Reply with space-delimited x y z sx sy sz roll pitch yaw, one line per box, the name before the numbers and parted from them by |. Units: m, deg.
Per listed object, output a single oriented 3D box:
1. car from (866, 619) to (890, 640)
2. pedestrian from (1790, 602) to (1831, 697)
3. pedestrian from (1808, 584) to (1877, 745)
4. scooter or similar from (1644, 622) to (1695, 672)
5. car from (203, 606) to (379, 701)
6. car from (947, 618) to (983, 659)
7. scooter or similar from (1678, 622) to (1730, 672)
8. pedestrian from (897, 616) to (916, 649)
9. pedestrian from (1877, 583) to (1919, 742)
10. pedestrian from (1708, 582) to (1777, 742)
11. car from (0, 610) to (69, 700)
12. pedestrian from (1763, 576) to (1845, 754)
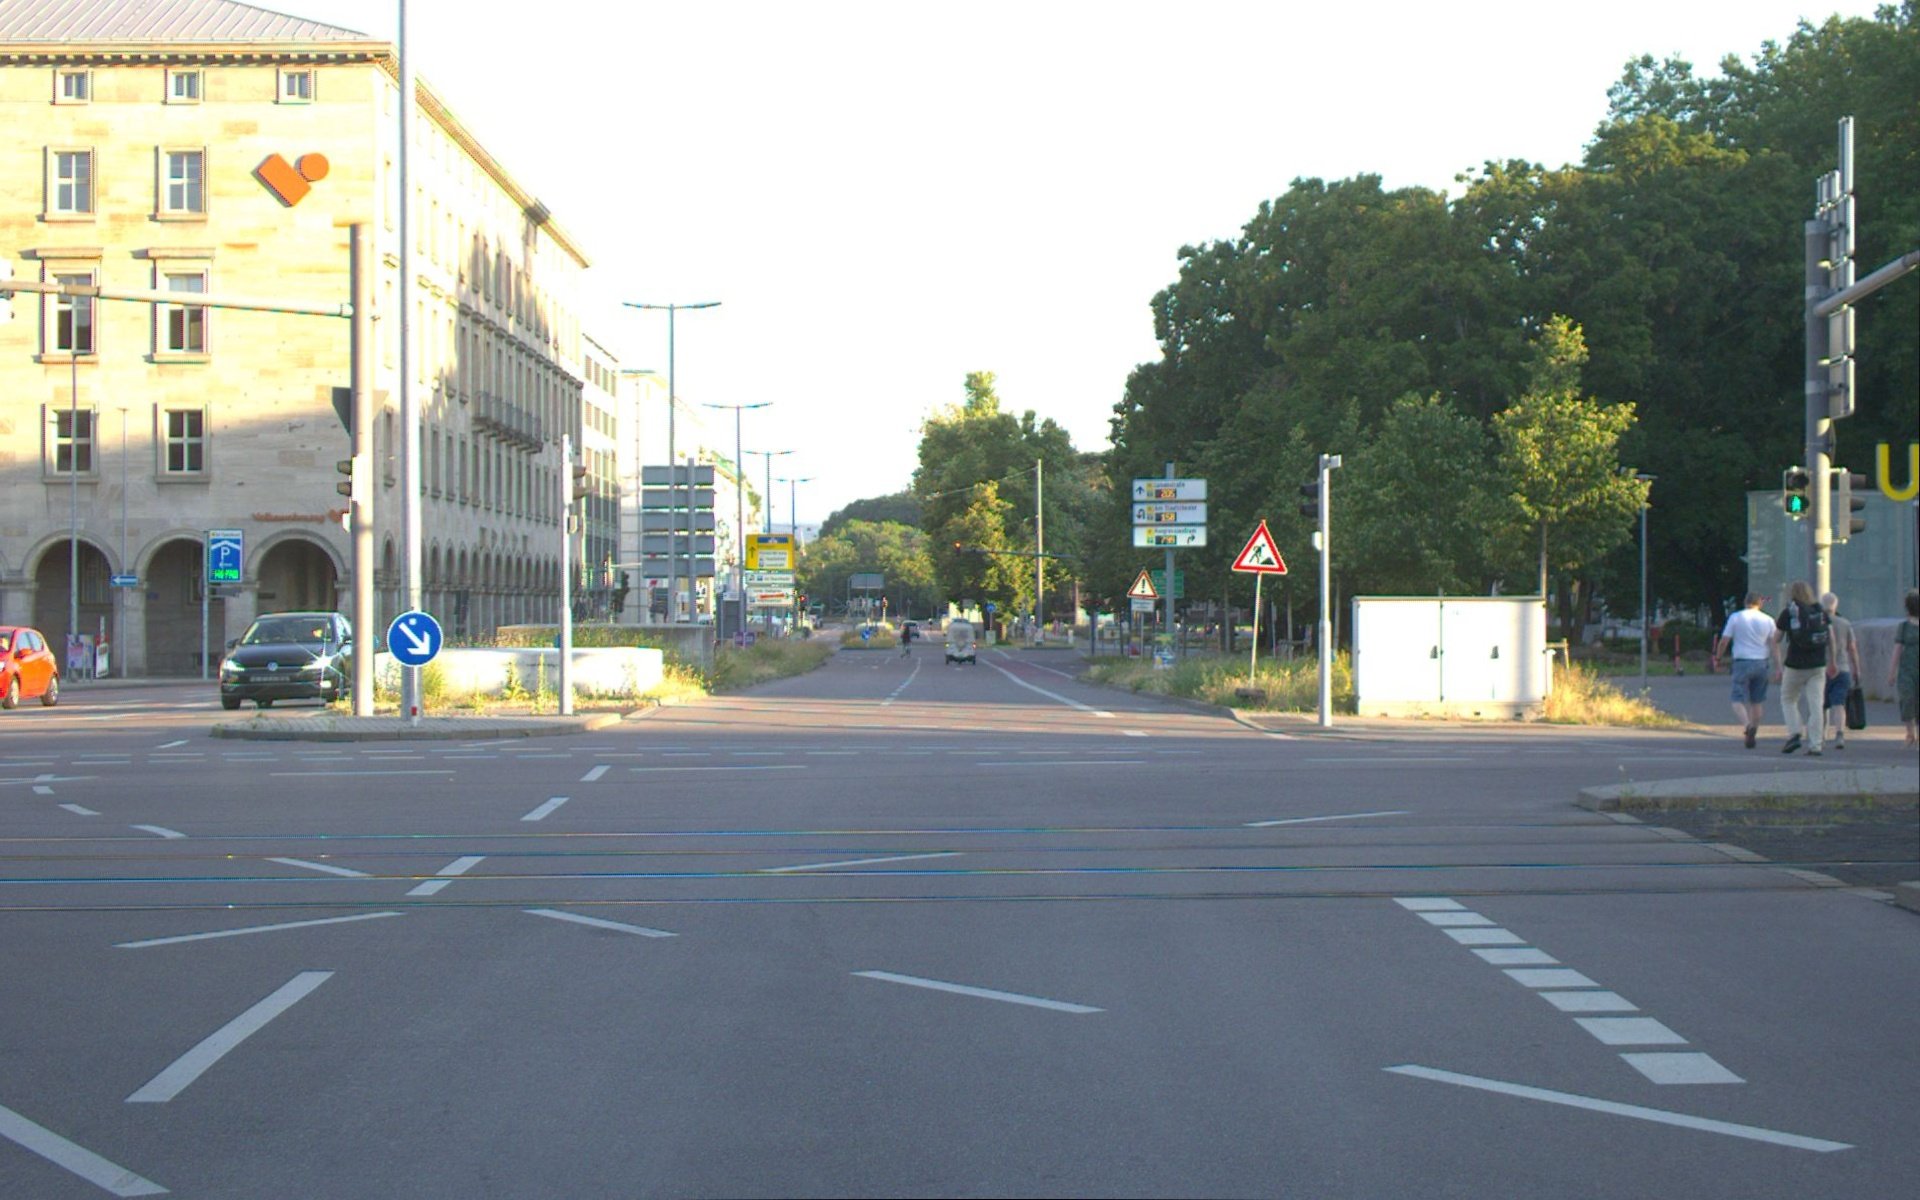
car | -5.119 1.844 214.764 1.370 1.230 3.045 0 1 1
pedestrian | 16.604 0.954 67.148 0.666 1.836 0.713 0 0 4
pedestrian | 9.591 0.692 37.352 0.711 1.719 0.668 0 0 16
scooter or similar | 17.874 1.176 86.624 0.569 1.199 2.984 0 0 -2
car | -10.121 0.779 52.263 1.823 1.337 4.000 0 1 1
car | 0.217 1.653 148.794 1.483 1.690 2.974 0 0 -1
scooter or similar | 18.771 1.170 86.780 0.569 1.199 2.984 0 0 -2
pedestrian | -2.703 1.644 174.177 0.906 1.665 1.307 0 0 -2
pedestrian | 10.006 0.653 36.302 0.560 1.649 0.901 0 0 20
pedestrian | 8.536 0.669 37.477 0.711 1.719 0.668 0 0 15
car | -17.117 0.951 60.652 1.738 1.482 4.000 0 1 0
pedestrian | 8.288 0.628 33.784 0.711 1.719 0.914 0 0 10
